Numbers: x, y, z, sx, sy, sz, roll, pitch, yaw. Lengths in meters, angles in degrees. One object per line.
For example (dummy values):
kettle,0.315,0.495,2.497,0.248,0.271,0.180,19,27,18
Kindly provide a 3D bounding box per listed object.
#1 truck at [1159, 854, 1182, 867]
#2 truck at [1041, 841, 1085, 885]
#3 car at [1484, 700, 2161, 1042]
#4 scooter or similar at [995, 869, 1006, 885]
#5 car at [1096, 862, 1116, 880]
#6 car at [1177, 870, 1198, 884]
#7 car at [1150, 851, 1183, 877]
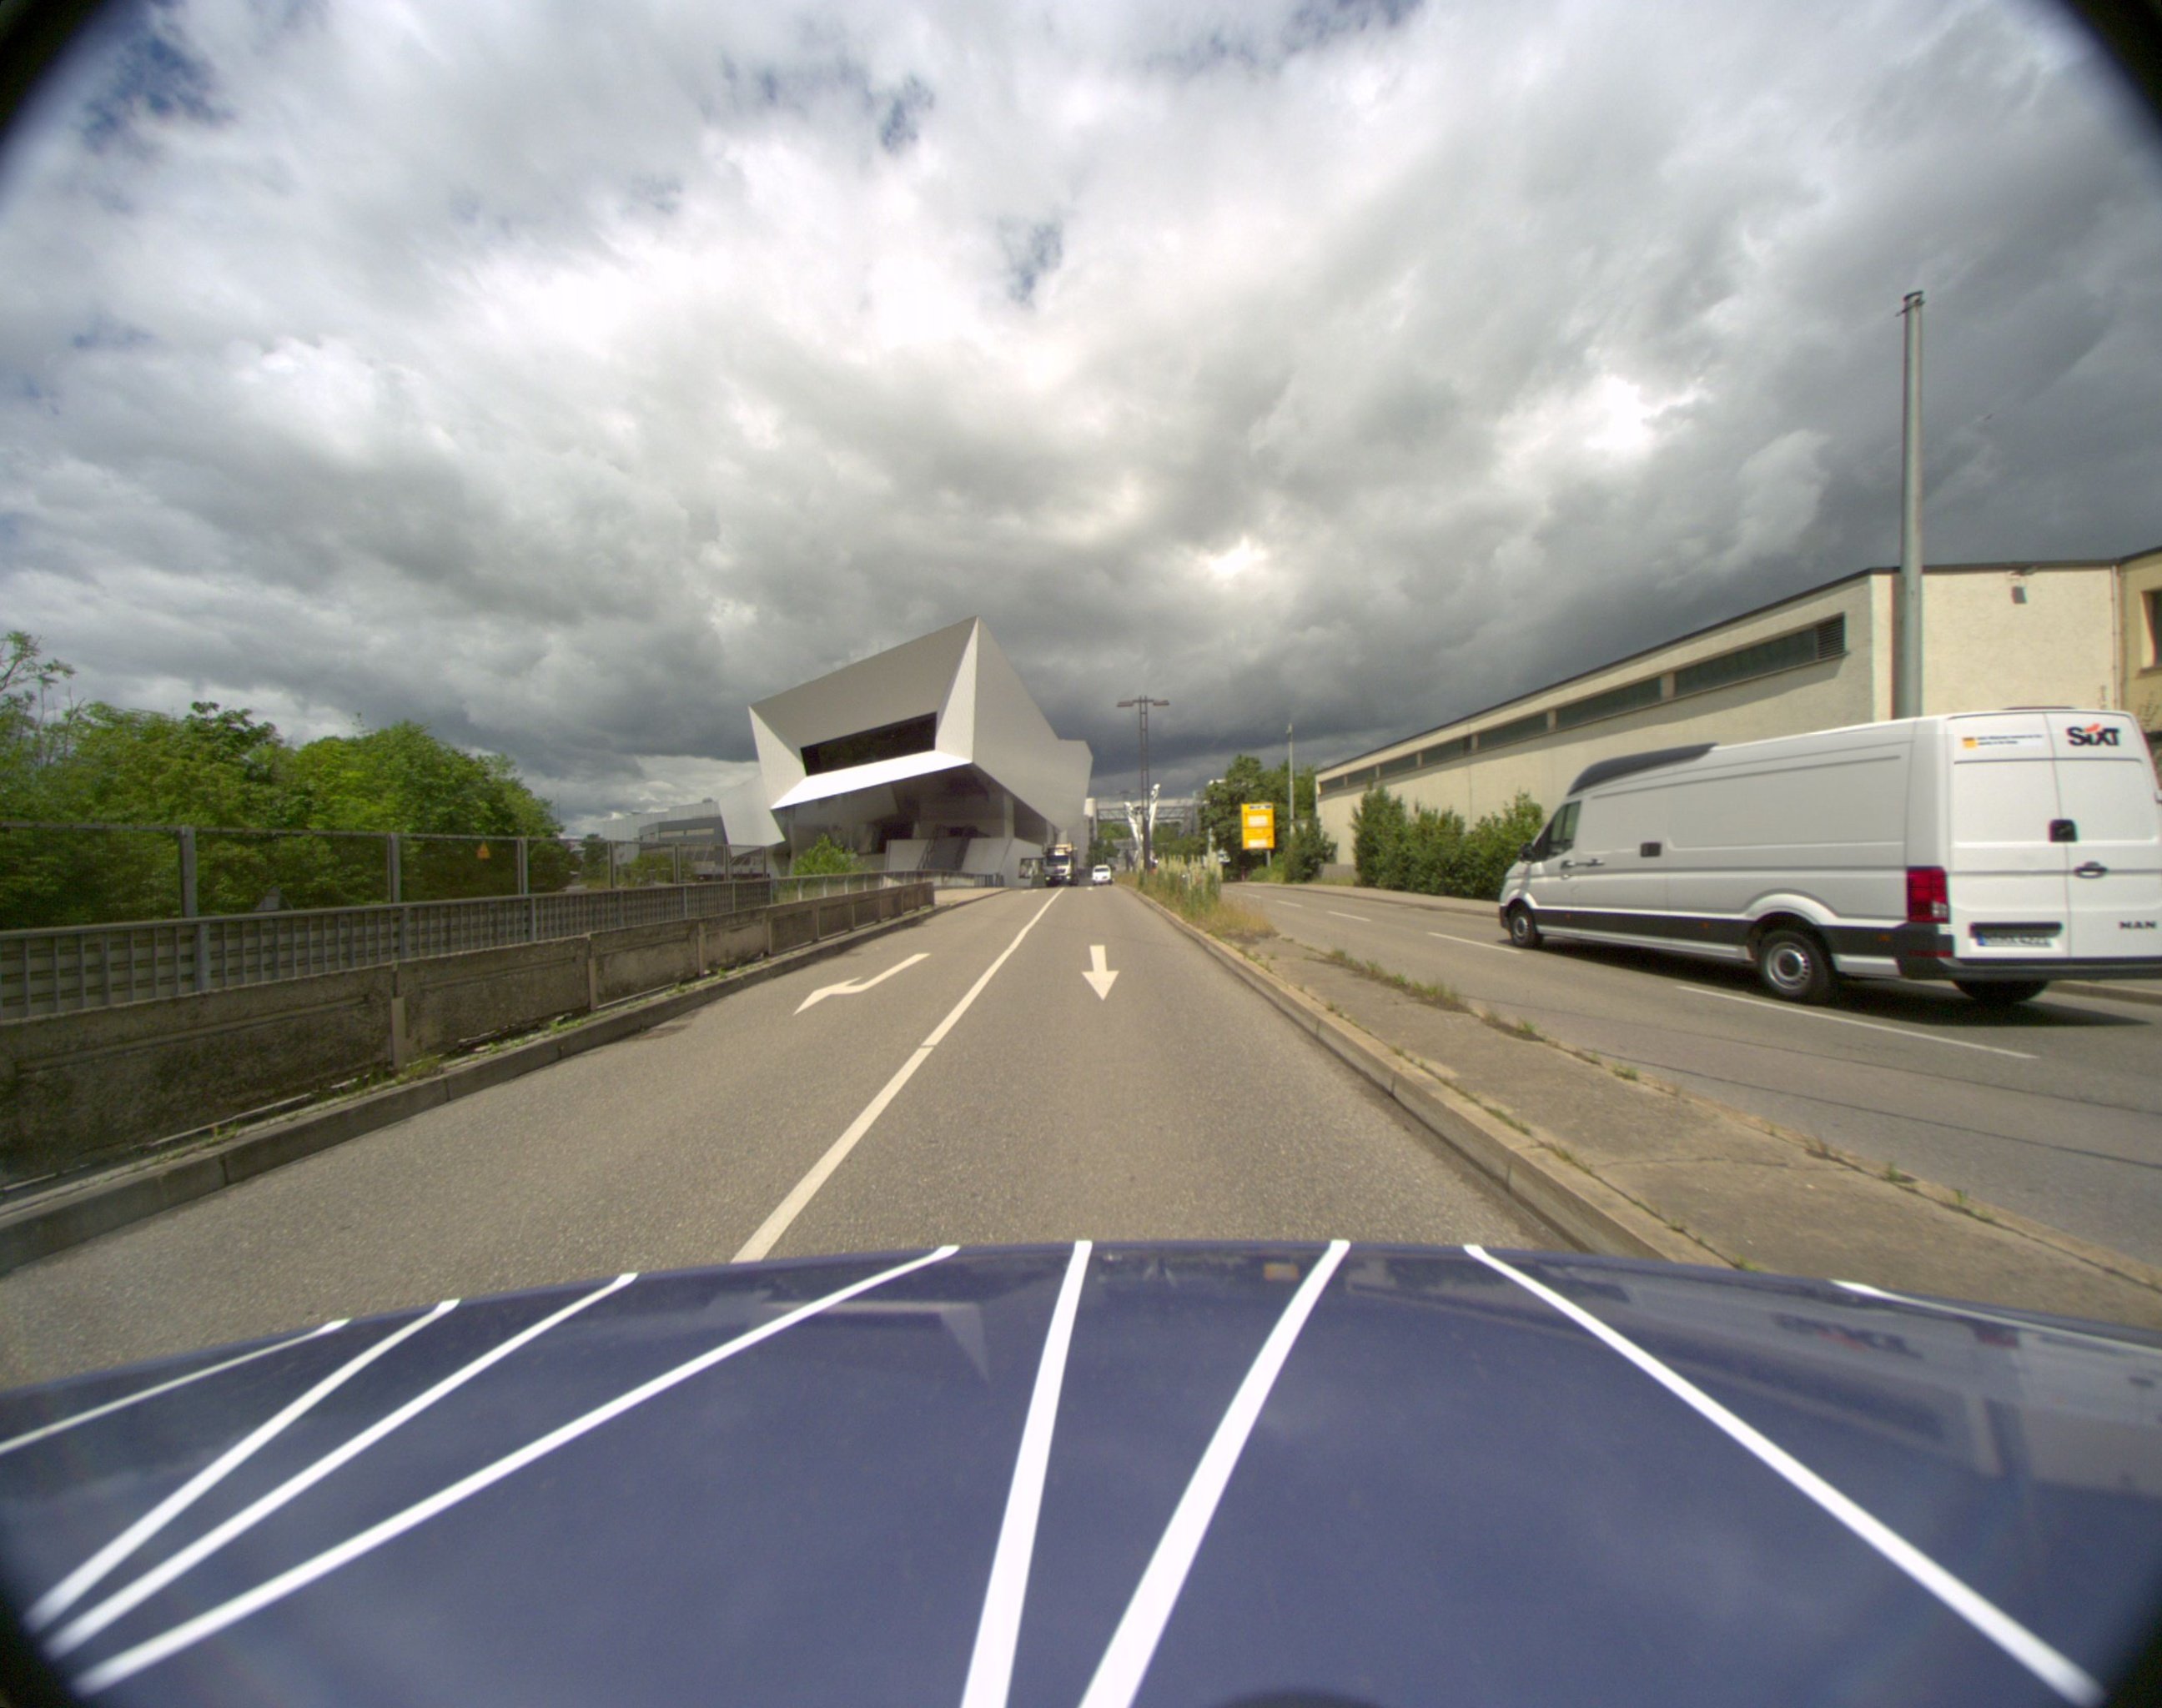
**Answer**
truck,27.474,2.037,233.746,2.364,3.545,8.975,-2,-2,-24
truck,-1.491,0.917,70.306,2.842,3.668,10.760,-1,-2,5
car,7.632,0.135,9.094,2.072,2.556,6.822,0,0,1
scooter or similar,-6.231,1.790,58.802,0.655,1.206,1.858,-1,-1,1
car,2.545,1.737,78.990,1.986,1.702,4.761,-2,0,1
car,10.430,2.278,74.488,1.758,1.268,4.001,1,0,3
car,6.696,0.768,59.749,1.998,1.877,4.869,-1,-1,0
